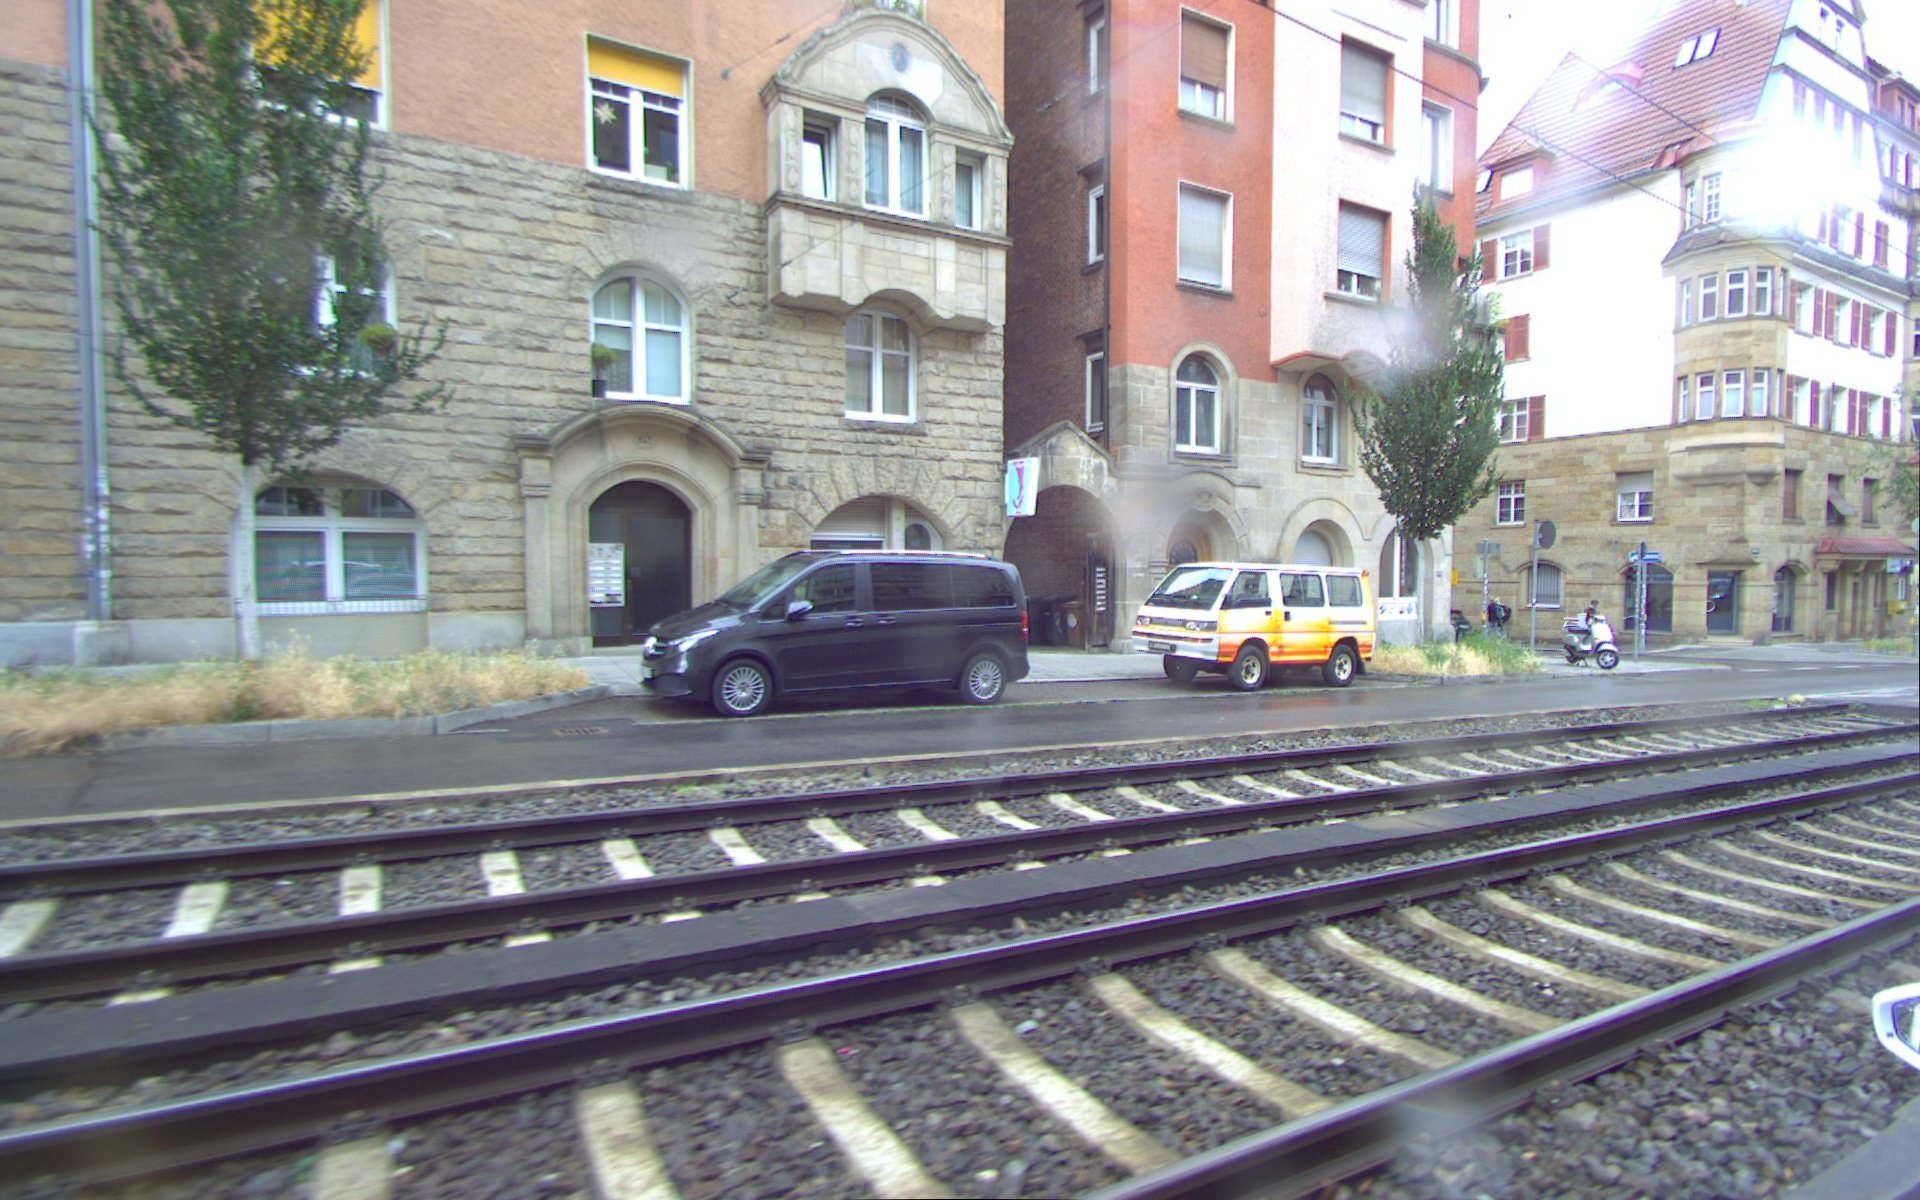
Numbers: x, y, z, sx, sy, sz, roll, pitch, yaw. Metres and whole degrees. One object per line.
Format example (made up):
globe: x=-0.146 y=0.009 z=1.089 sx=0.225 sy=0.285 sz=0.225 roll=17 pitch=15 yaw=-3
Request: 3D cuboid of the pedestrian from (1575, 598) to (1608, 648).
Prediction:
pedestrian: x=22.742 y=0.824 z=36.174 sx=0.854 sy=1.756 sz=0.604 roll=1 pitch=1 yaw=-29

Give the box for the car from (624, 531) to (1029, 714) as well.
car: x=-1.614 y=0.265 z=12.600 sx=4.642 sy=1.927 sz=1.984 roll=1 pitch=0 yaw=-30

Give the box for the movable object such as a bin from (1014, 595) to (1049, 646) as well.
movable object such as a bin: x=1.547 y=0.432 z=21.798 sx=0.513 sy=1.075 sz=0.571 roll=1 pitch=2 yaw=-30

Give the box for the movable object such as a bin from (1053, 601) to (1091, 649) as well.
movable object such as a bin: x=2.325 y=0.509 z=20.863 sx=0.513 sy=0.968 sz=0.571 roll=1 pitch=2 yaw=-30

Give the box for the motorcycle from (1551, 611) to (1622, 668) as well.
motorcycle: x=13.736 y=0.856 z=22.060 sx=0.608 sy=1.149 sz=1.441 roll=2 pitch=1 yaw=0

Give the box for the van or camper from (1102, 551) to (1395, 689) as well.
van or camper: x=4.825 y=0.296 z=16.616 sx=4.647 sy=1.927 sz=1.982 roll=1 pitch=4 yaw=-32

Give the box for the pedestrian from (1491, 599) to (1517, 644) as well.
pedestrian: x=21.796 y=0.865 z=40.269 sx=0.634 sy=1.756 sz=0.604 roll=1 pitch=1 yaw=-29

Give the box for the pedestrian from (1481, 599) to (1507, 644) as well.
pedestrian: x=21.205 y=0.846 z=39.860 sx=0.634 sy=1.756 sz=0.604 roll=1 pitch=1 yaw=-29

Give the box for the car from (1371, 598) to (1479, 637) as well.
car: x=18.171 y=0.673 z=39.391 sx=1.543 sy=1.329 sz=3.602 roll=1 pitch=1 yaw=-31

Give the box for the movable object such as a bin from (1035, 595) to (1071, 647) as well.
movable object such as a bin: x=1.979 y=0.447 z=21.347 sx=0.513 sy=1.075 sz=0.571 roll=1 pitch=2 yaw=-30
